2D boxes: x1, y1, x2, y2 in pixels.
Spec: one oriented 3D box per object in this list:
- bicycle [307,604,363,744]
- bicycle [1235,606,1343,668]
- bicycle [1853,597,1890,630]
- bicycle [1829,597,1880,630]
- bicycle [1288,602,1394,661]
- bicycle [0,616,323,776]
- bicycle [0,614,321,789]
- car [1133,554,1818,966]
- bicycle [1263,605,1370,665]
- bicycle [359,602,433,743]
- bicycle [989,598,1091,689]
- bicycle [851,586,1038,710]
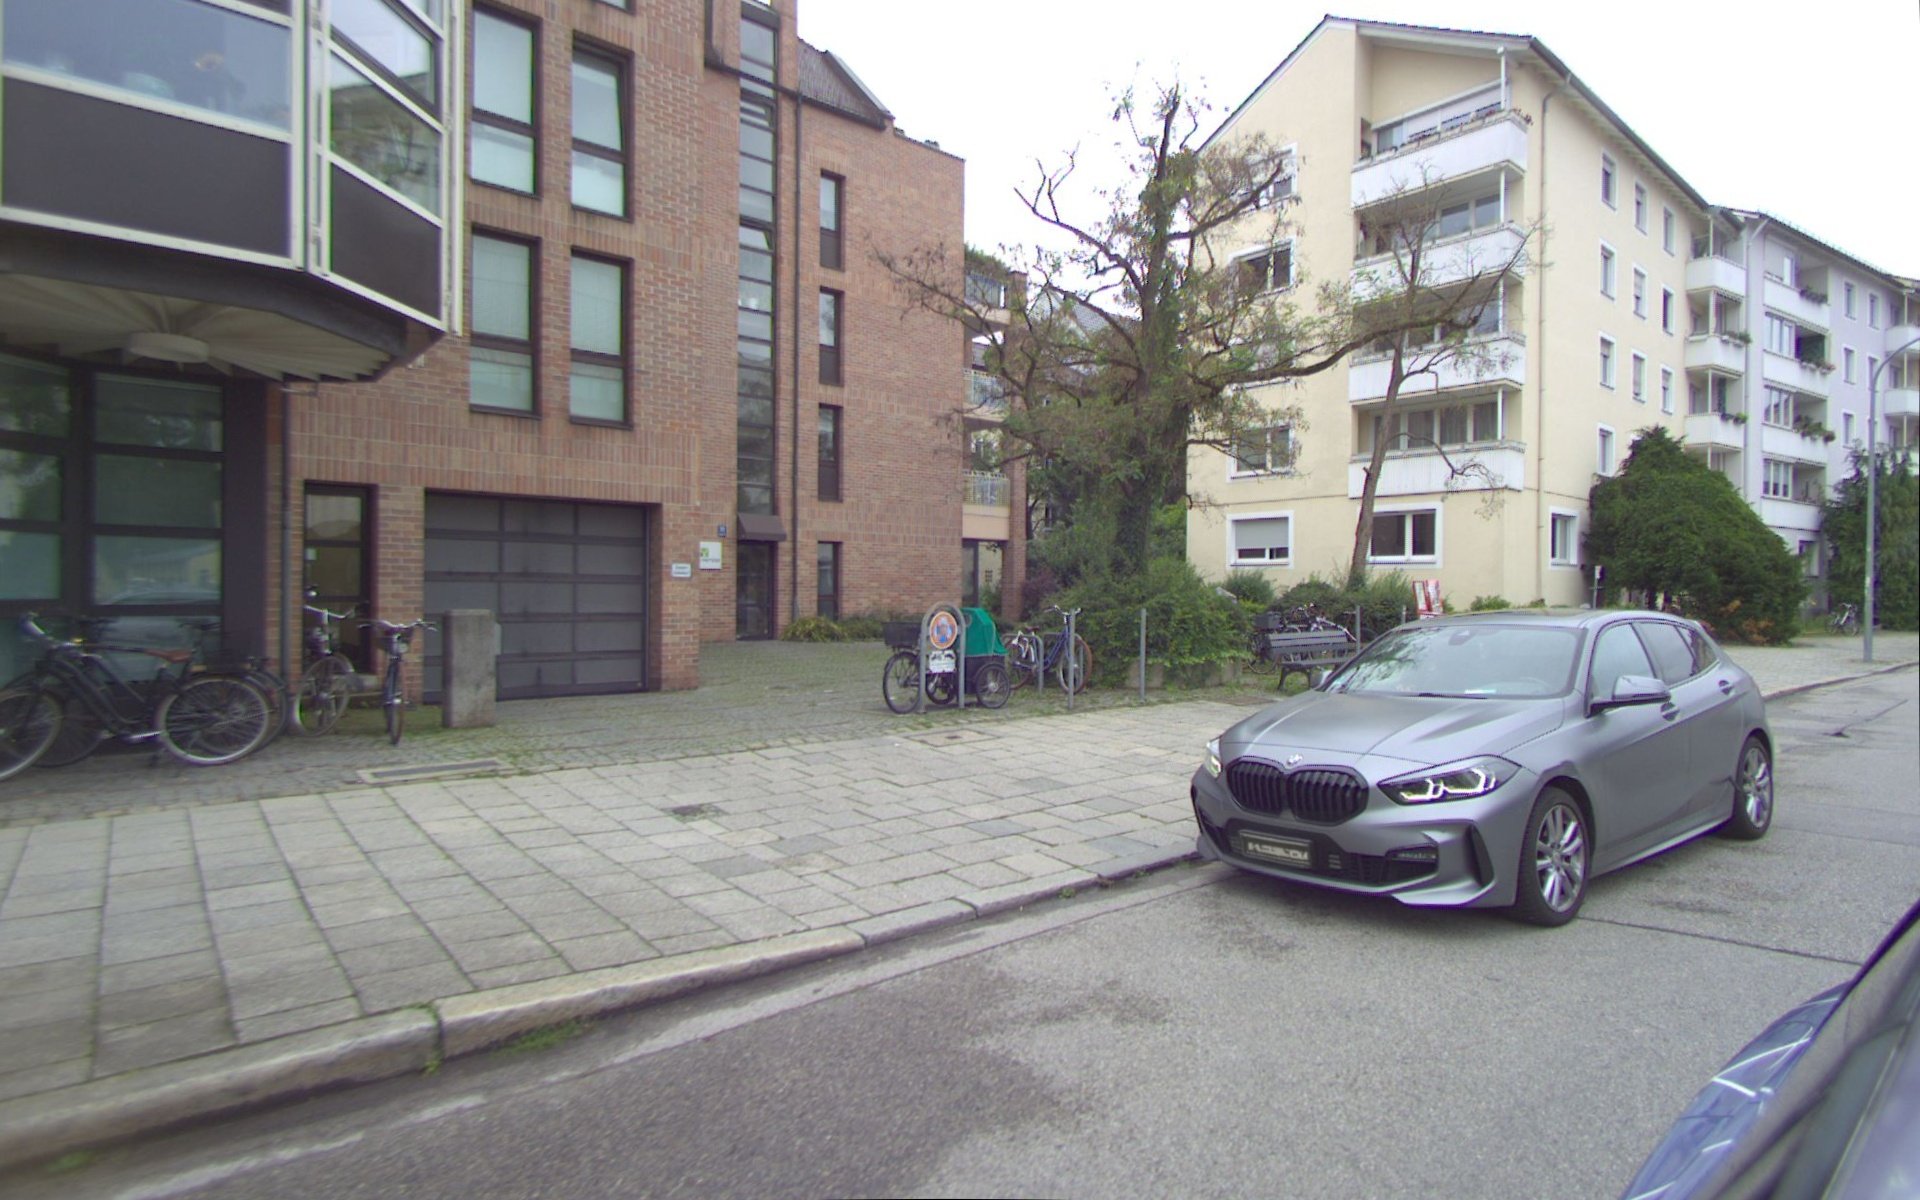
[{"bbox_3d":[-5.651,0.630,9.155,0.375,1.162,1.482,2,-2,-32],"label":"bicycle"},{"bbox_3d":[5.395,0.598,16.680,0.536,0.978,1.705,2,-2,-37],"label":"bicycle"},{"bbox_3d":[32.911,0.486,36.543,1.905,1.132,0.469,1,1,-32],"label":"bicycle"},{"bbox_3d":[31.131,0.475,35.205,1.903,1.132,0.469,1,1,-21],"label":"bicycle"},{"bbox_3d":[6.627,0.545,17.690,0.536,0.978,1.705,2,-2,-37],"label":"bicycle"},{"bbox_3d":[-5.947,0.660,7.555,1.960,1.073,0.487,1,-2,-41],"label":"bicycle"},{"bbox_3d":[-5.626,0.648,7.029,1.961,1.073,0.487,0,-1,-41],"label":"bicycle"},{"bbox_3d":[3.191,0.621,5.888,4.312,1.532,1.929,0,-2,-39],"label":"car"},{"bbox_3d":[6.025,0.583,17.192,0.536,0.978,1.705,2,-2,-37],"label":"bicycle"},{"bbox_3d":[-5.198,0.621,9.287,0.478,1.162,1.855,2,-2,-32],"label":"bicycle"},{"bbox_3d":[1.080,0.575,13.585,1.338,1.188,0.420,0,-2,7],"label":"bicycle"},{"bbox_3d":[-0.115,0.483,11.405,2.374,1.264,0.534,-1,-1,-44],"label":"bicycle"}]
